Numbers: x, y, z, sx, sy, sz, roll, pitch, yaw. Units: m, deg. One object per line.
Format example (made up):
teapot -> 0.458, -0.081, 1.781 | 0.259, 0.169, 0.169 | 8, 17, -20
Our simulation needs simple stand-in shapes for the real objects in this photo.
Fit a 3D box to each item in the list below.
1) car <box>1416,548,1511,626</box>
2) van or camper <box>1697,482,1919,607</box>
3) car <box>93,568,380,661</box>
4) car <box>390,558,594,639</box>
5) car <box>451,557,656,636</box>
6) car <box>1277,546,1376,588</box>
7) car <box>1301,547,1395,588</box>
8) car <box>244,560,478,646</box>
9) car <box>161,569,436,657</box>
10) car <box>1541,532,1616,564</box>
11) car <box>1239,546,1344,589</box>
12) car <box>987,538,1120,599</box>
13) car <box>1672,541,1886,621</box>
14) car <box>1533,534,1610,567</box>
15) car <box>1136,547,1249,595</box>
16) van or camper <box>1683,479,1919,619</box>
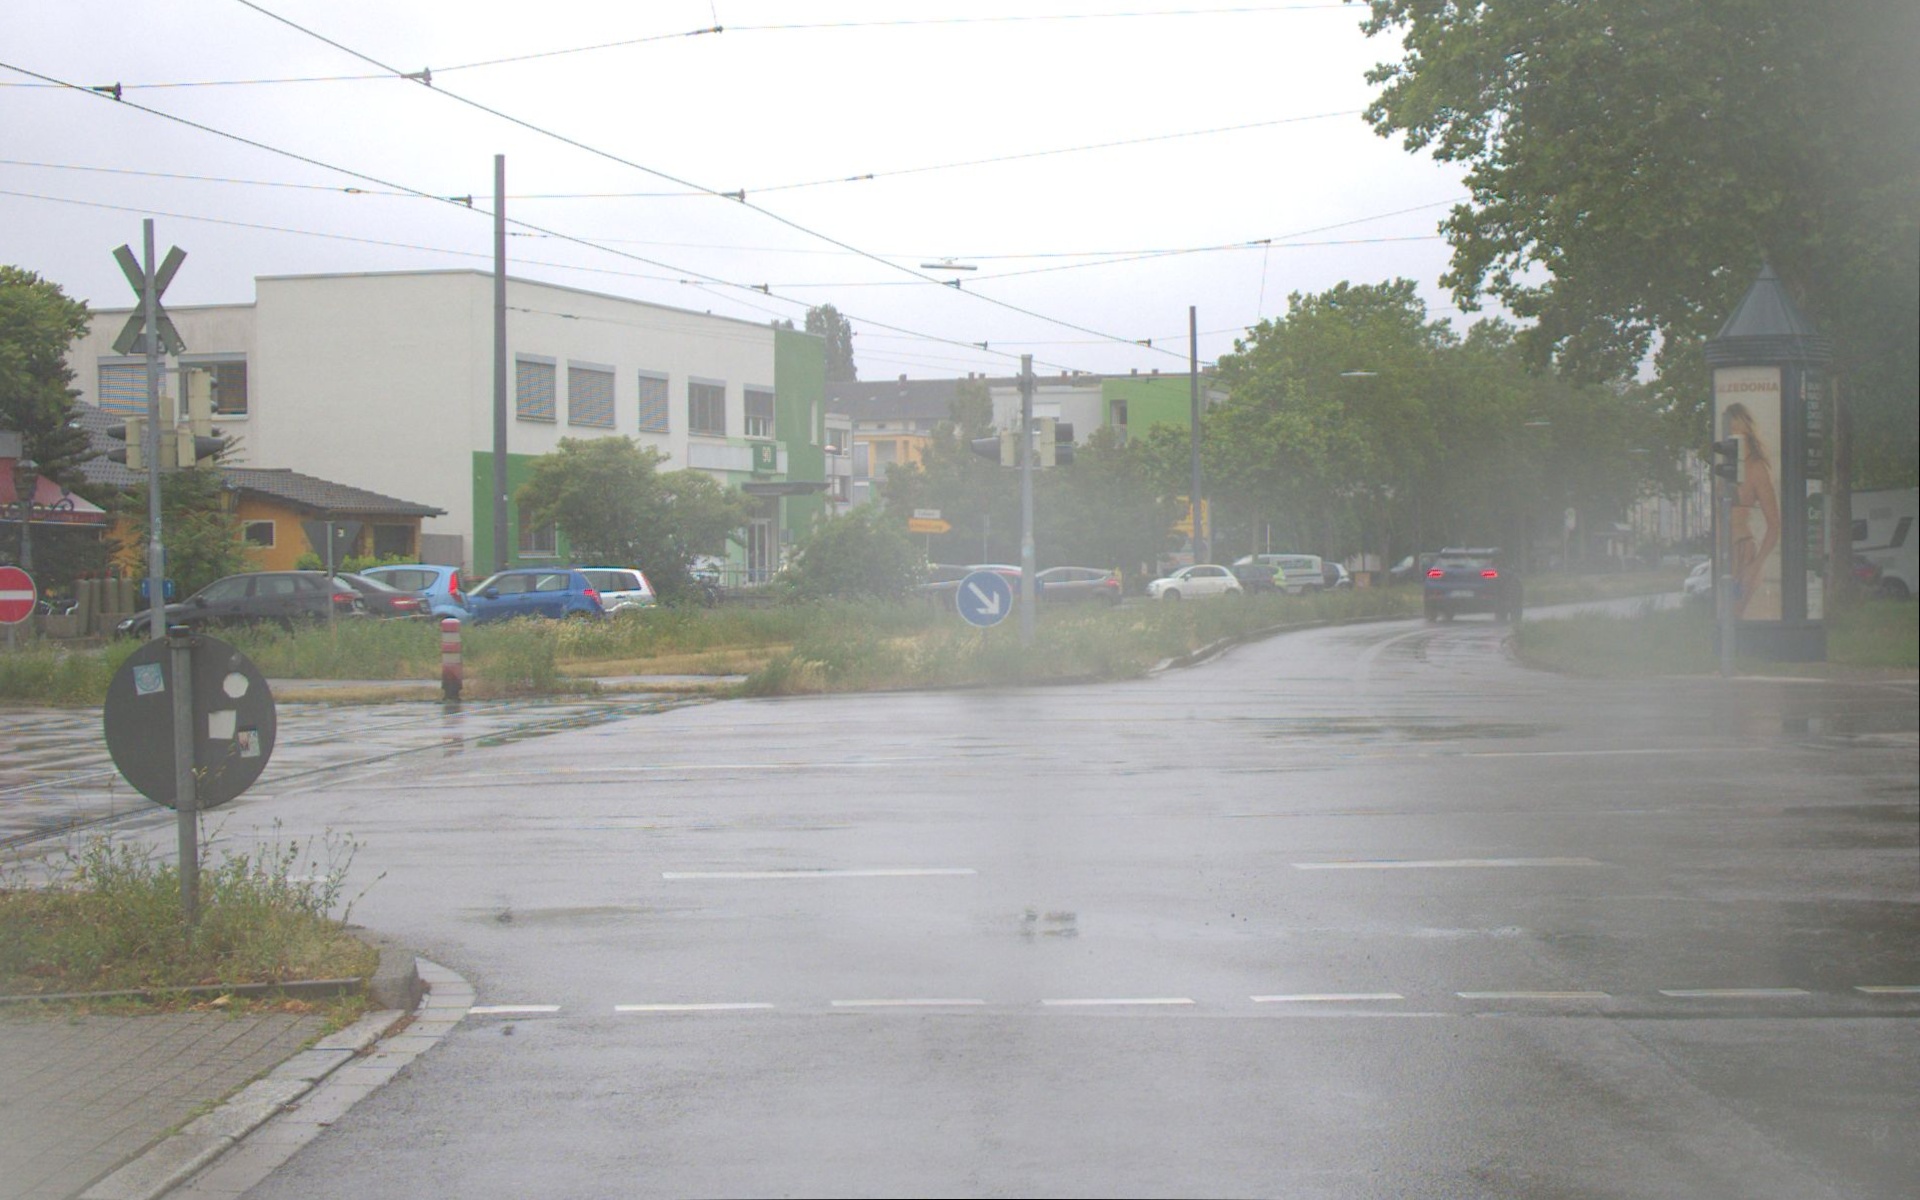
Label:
car -> 11.363, -0.299, 77.427 | 1.807, 1.680, 3.909 | 1, 1, 12
van or camper -> 23.273, -1.445, 89.679 | 7.434, 3.167, 3.259 | 1, 1, 22
car -> -12.376, 0.235, 58.995 | 4.477, 1.413, 1.858 | -2, 0, 1
car -> -9.505, -0.040, 69.736 | 3.986, 1.576, 1.930 | 0, 0, -11
car -> -8.633, -0.087, 72.918 | 4.107, 1.635, 1.930 | -1, 0, -14
car -> 16.388, -1.477, 153.851 | 3.986, 1.826, 2.001 | 1, 0, -11
car -> 17.909, -1.506, 158.921 | 3.986, 1.826, 2.000 | 1, 0, -5
car -> -11.247, 0.043, 64.701 | 3.987, 1.576, 1.858 | 0, 0, 4
car -> -11.783, 0.221, 61.402 | 4.497, 1.413, 1.858 | -2, 0, 1
car -> 36.578, -3.098, 203.420 | 3.986, 1.826, 2.000 | 1, 0, -5
car -> 13.951, -1.384, 144.888 | 3.986, 1.752, 2.011 | 1, 0, -11
car -> 2.978, -1.010, 110.097 | 3.986, 1.881, 2.000 | 1, 0, -7
car -> 18.490, -0.441, 77.596 | 4.449, 1.711, 1.998 | 1, 1, 21
car -> 35.331, -2.868, 198.689 | 3.986, 1.826, 2.000 | 1, 0, -5
car -> 8.553, -1.076, 126.593 | 3.773, 1.697, 1.837 | 1, 0, -10
van or camper -> 20.850, -1.177, 80.480 | 7.328, 3.167, 3.259 | 1, 1, 18
